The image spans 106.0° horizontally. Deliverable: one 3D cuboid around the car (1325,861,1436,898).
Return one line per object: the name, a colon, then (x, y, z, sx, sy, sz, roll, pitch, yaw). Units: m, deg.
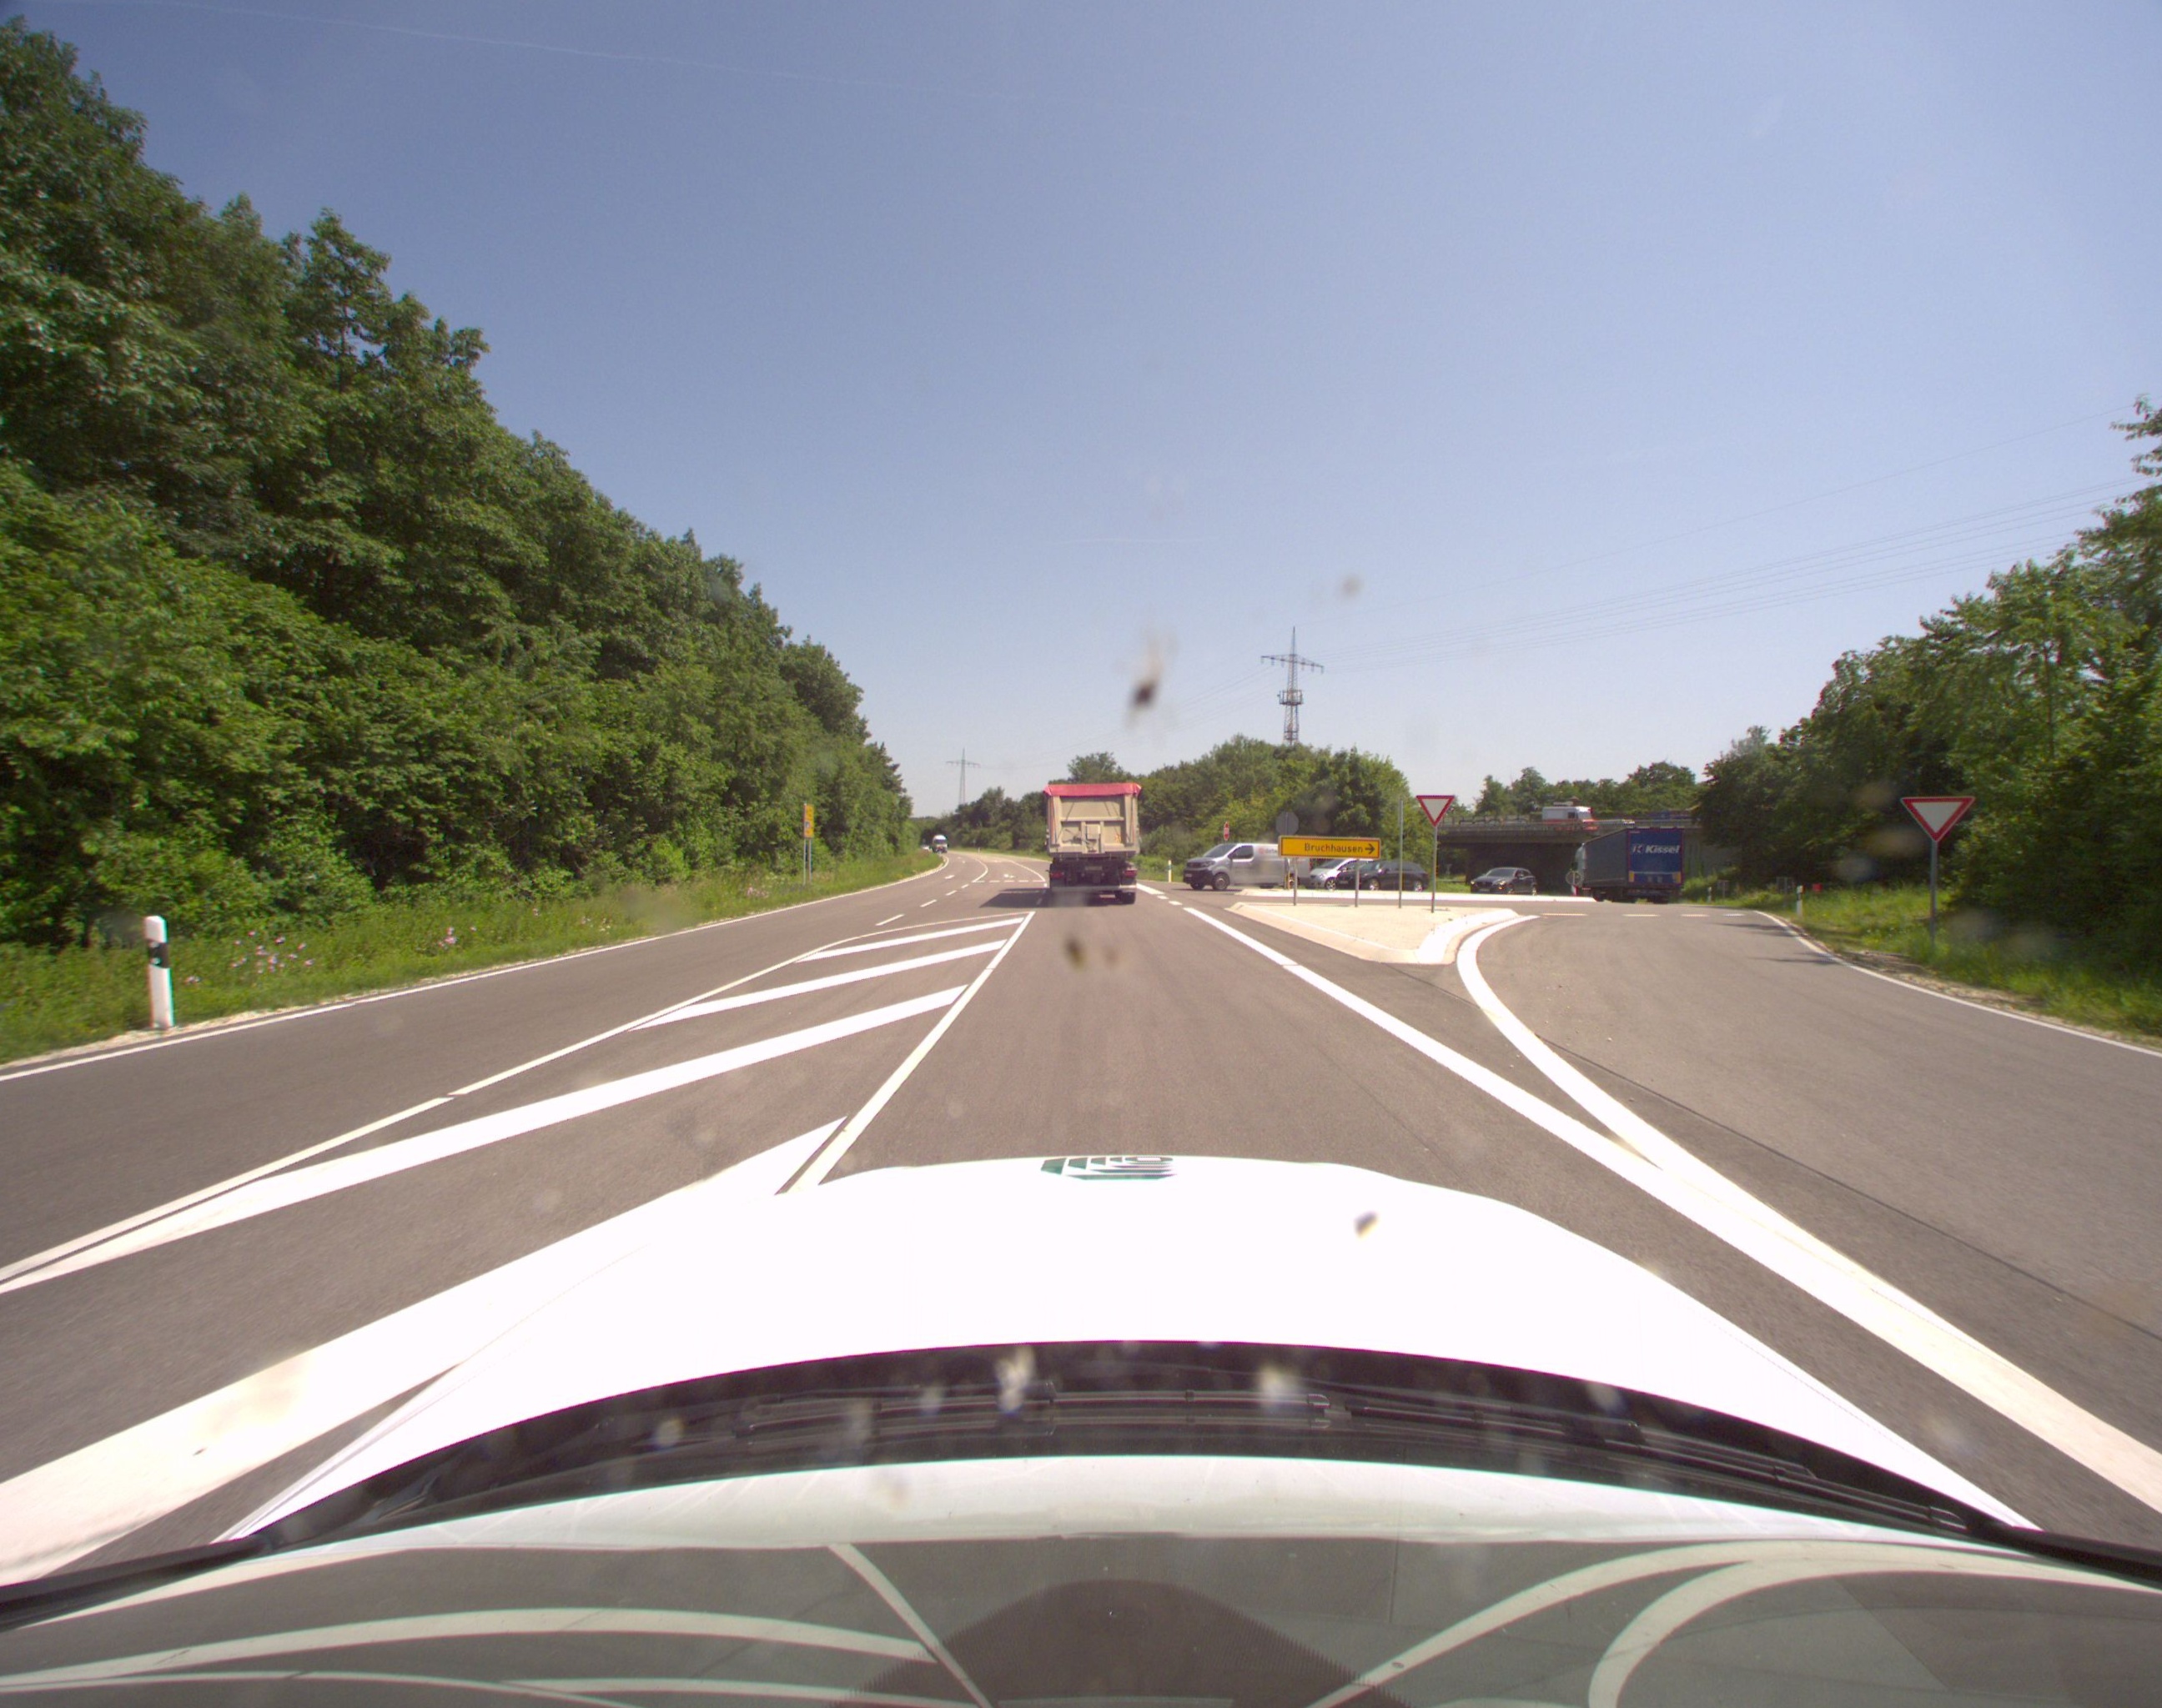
car: (12.763, 1.054, 34.646, 4.573, 1.474, 1.852, 0, 0, -27)

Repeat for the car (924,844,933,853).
car: (-31.157, -1.163, 166.536, 1.843, 1.779, 4.875, -1, 0, -11)

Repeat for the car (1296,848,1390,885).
car: (12.124, 0.549, 37.668, 4.001, 1.580, 1.830, -1, 0, -26)

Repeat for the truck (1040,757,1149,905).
truck: (0.069, -0.660, 27.851, 2.887, 3.962, 11.920, -1, 0, -3)

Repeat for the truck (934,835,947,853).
truck: (-29.683, -2.068, 172.491, 2.626, 3.670, 8.769, -1, 0, -9)

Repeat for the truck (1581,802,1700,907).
truck: (32.823, 0.020, 48.624, 3.332, 5.315, 15.430, -1, 0, 25)

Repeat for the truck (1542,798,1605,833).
truck: (49.734, -3.817, 82.368, 2.484, 3.276, 4.838, -1, 0, -27)

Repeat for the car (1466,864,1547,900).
car: (20.455, 1.356, 39.095, 4.113, 1.599, 1.792, 4, -3, -36)

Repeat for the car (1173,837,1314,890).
car: (6.437, 0.422, 32.169, 5.235, 1.907, 1.998, 2, -1, -23)
